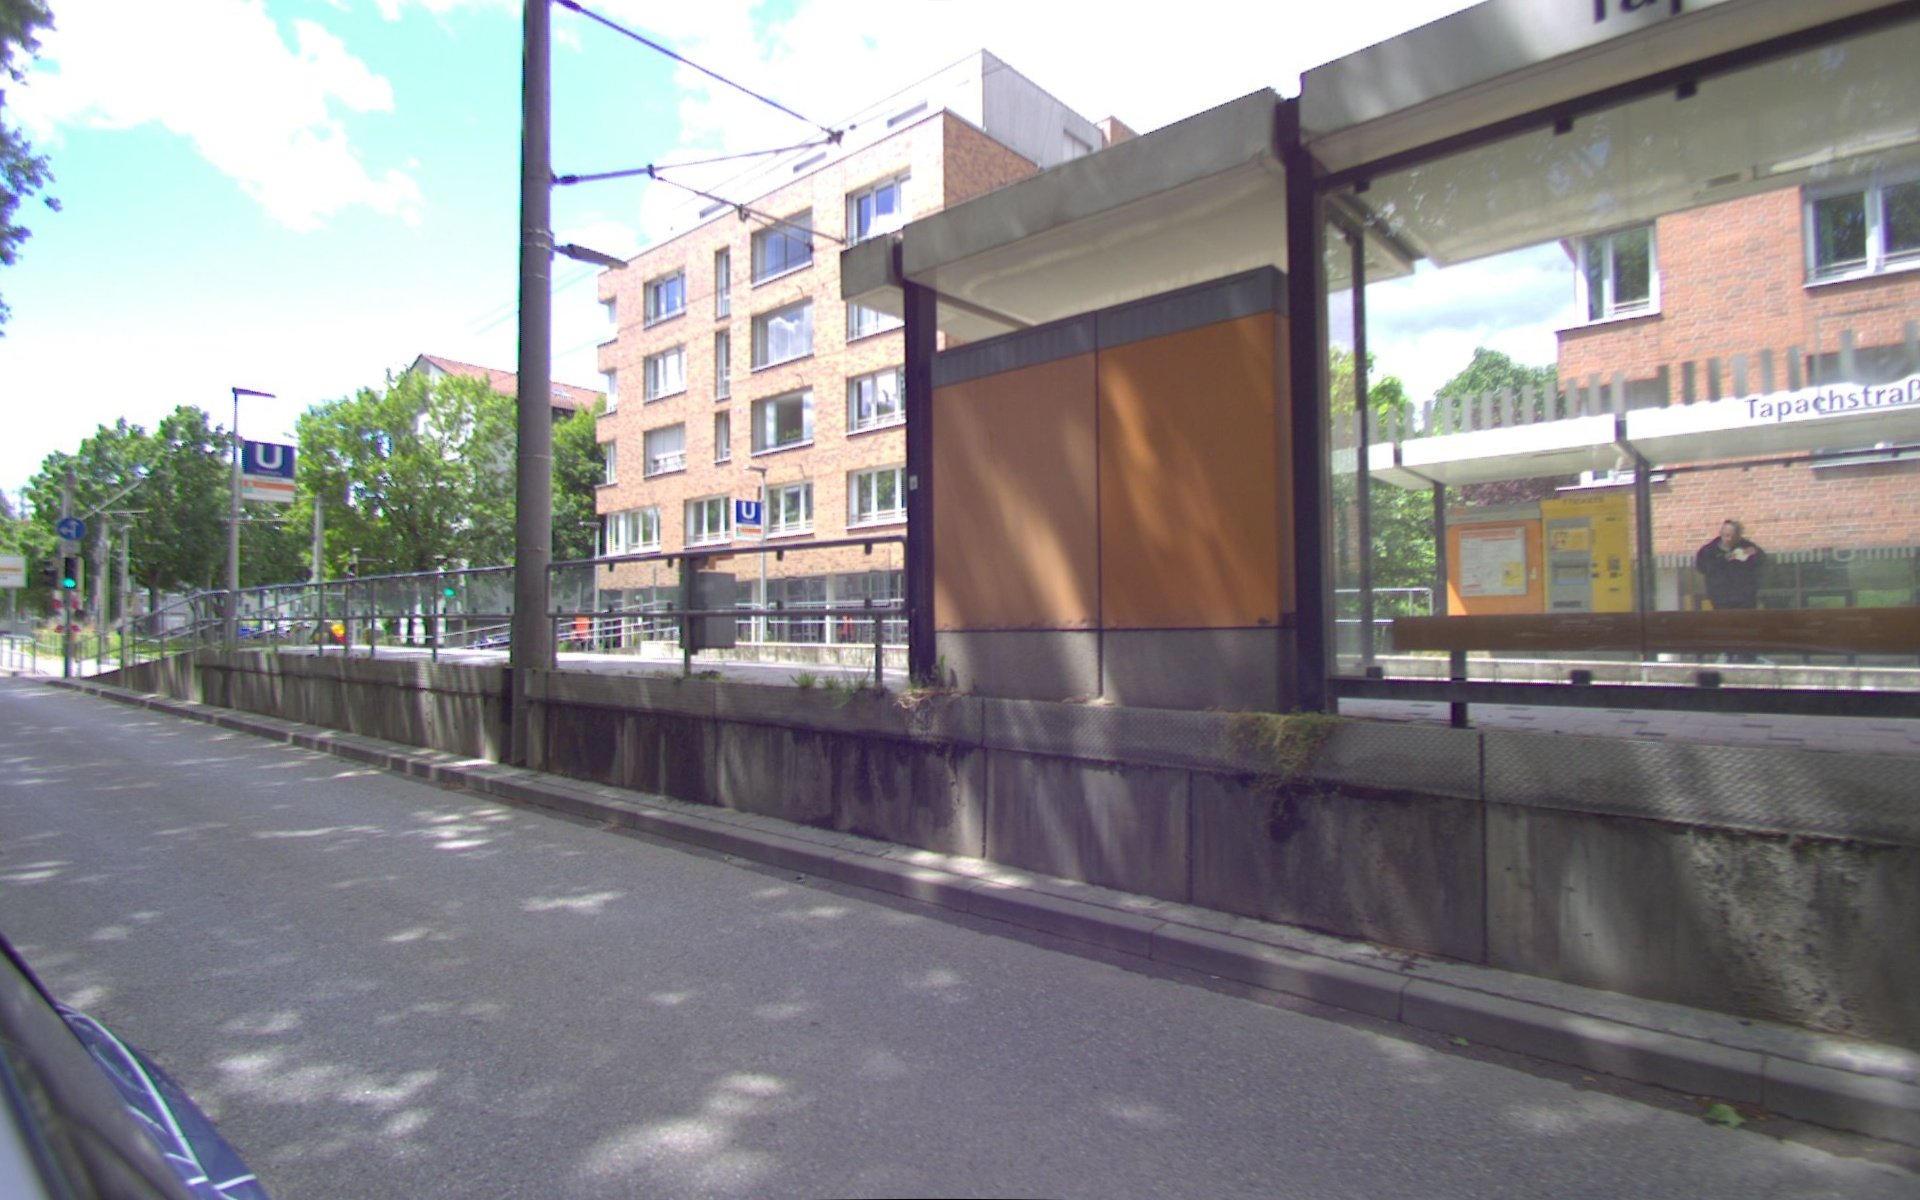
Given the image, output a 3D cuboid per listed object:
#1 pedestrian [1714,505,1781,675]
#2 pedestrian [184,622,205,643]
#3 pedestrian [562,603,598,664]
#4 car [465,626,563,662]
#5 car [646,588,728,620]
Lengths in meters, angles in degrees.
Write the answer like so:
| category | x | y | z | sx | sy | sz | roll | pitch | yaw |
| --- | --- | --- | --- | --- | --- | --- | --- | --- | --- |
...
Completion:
| category | x | y | z | sx | sy | sz | roll | pitch | yaw |
| --- | --- | --- | --- | --- | --- | --- | --- | --- | --- |
| pedestrian | 8.494 | -0.096 | 10.922 | 0.527 | 1.777 | 0.529 | -1 | -2 | 38 |
| pedestrian | -62.834 | 2.673 | 83.076 | 1.008 | 1.677 | 0.875 | 0 | -2 | 1 |
| pedestrian | -11.614 | 1.035 | 30.939 | 0.828 | 1.839 | 0.736 | -2 | -3 | 40 |
| car | -19.917 | 1.986 | 45.281 | 1.588 | 1.488 | 3.632 | -2 | -5 | 43 |
| car | -12.810 | 0.227 | 47.657 | 1.592 | 1.410 | 3.497 | -2 | -3 | 38 |
